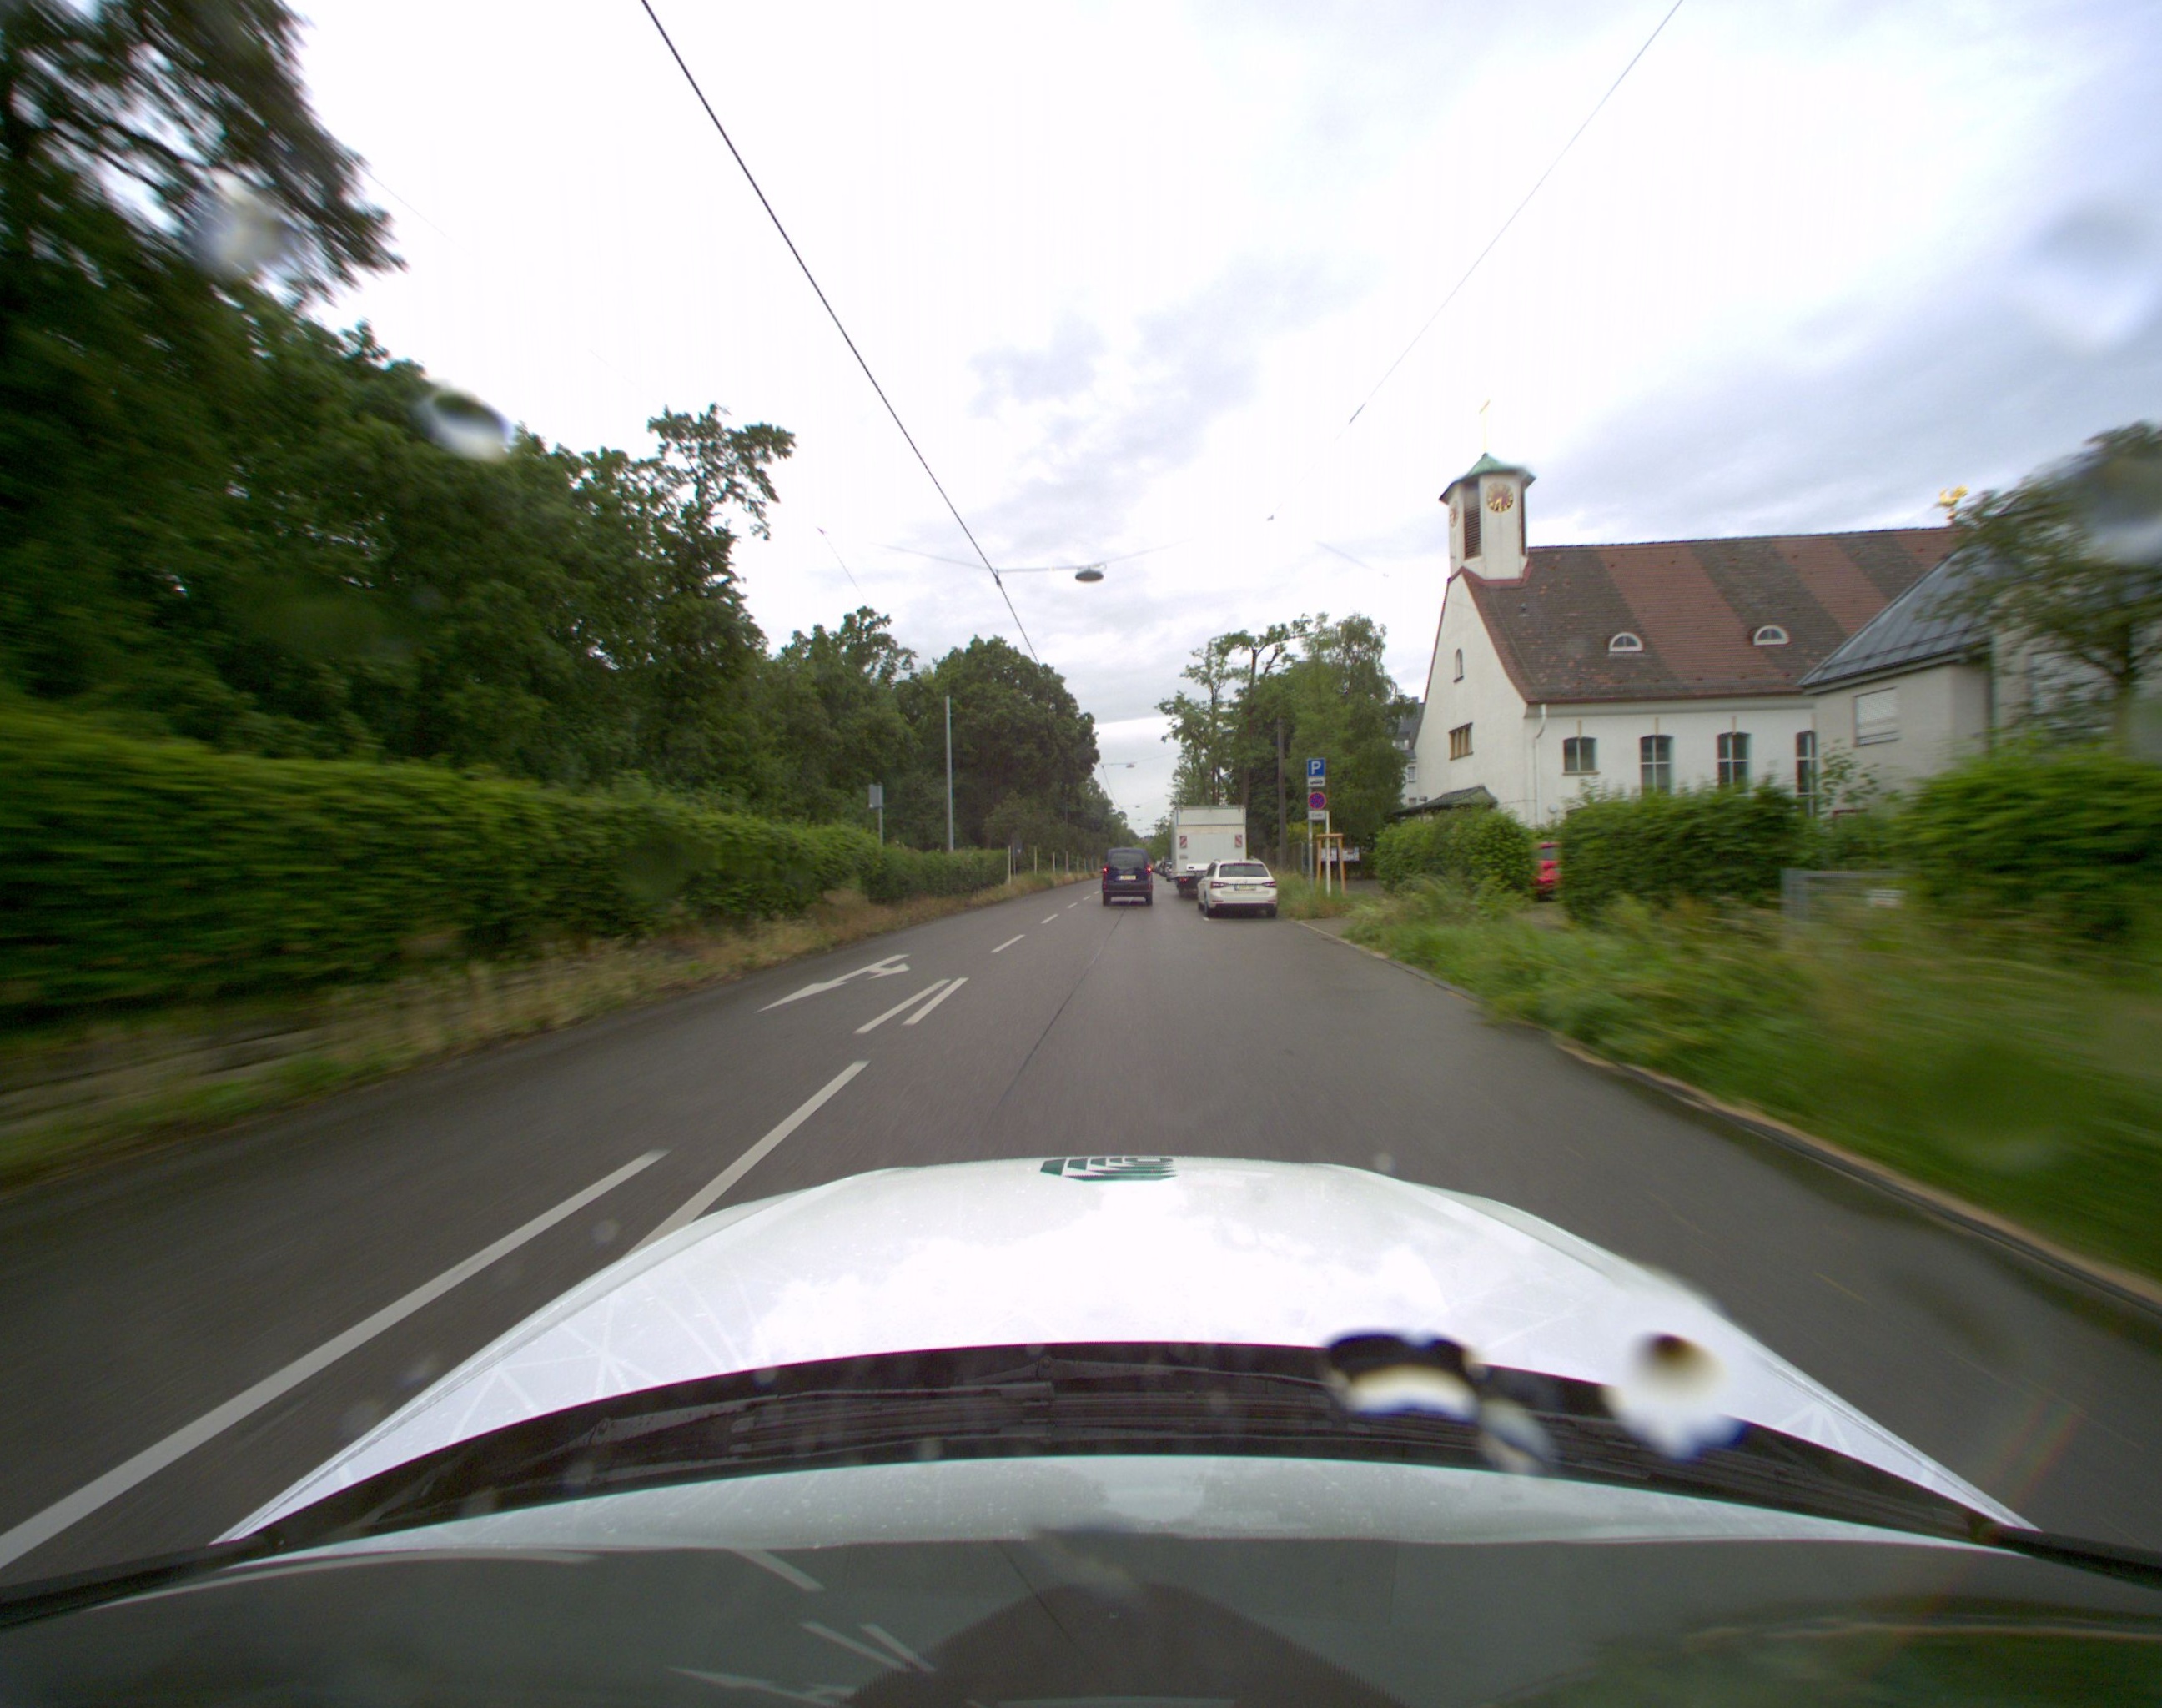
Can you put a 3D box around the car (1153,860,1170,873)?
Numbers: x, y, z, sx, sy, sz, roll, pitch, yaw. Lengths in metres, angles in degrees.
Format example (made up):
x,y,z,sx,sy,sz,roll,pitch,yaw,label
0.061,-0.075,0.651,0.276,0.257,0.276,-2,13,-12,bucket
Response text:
x,y,z,sx,sy,sz,roll,pitch,yaw,label
10.324,1.554,104.530,1.984,1.585,4.005,-2,0,5,car

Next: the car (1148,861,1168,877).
x,y,z,sx,sy,sz,roll,pitch,yaw,label
8.364,1.574,88.612,1.984,1.585,4.005,-2,0,5,car

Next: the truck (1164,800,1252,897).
x,y,z,sx,sy,sz,roll,pitch,yaw,label
4.913,-0.185,32.686,2.720,3.387,6.691,-2,0,3,truck

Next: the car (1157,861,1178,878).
x,y,z,sx,sy,sz,roll,pitch,yaw,label
8.816,1.542,82.899,1.984,1.585,4.005,-2,0,5,car

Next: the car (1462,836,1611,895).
x,y,z,sx,sy,sz,roll,pitch,yaw,label
12.567,0.297,22.788,1.986,1.453,4.002,-2,0,2,car

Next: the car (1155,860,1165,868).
x,y,z,sx,sy,sz,roll,pitch,yaw,label
15.556,1.934,160.667,1.984,1.585,4.005,-2,0,5,car

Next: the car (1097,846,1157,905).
x,y,z,sx,sy,sz,roll,pitch,yaw,label
1.574,0.672,27.350,1.801,1.797,4.004,-2,0,4,car

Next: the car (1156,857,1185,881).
x,y,z,sx,sy,sz,roll,pitch,yaw,label
6.679,1.097,60.846,1.984,1.585,4.005,-2,0,5,car

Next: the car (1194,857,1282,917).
x,y,z,sx,sy,sz,roll,pitch,yaw,label
4.106,0.808,21.932,1.805,1.380,4.290,-2,0,4,car
